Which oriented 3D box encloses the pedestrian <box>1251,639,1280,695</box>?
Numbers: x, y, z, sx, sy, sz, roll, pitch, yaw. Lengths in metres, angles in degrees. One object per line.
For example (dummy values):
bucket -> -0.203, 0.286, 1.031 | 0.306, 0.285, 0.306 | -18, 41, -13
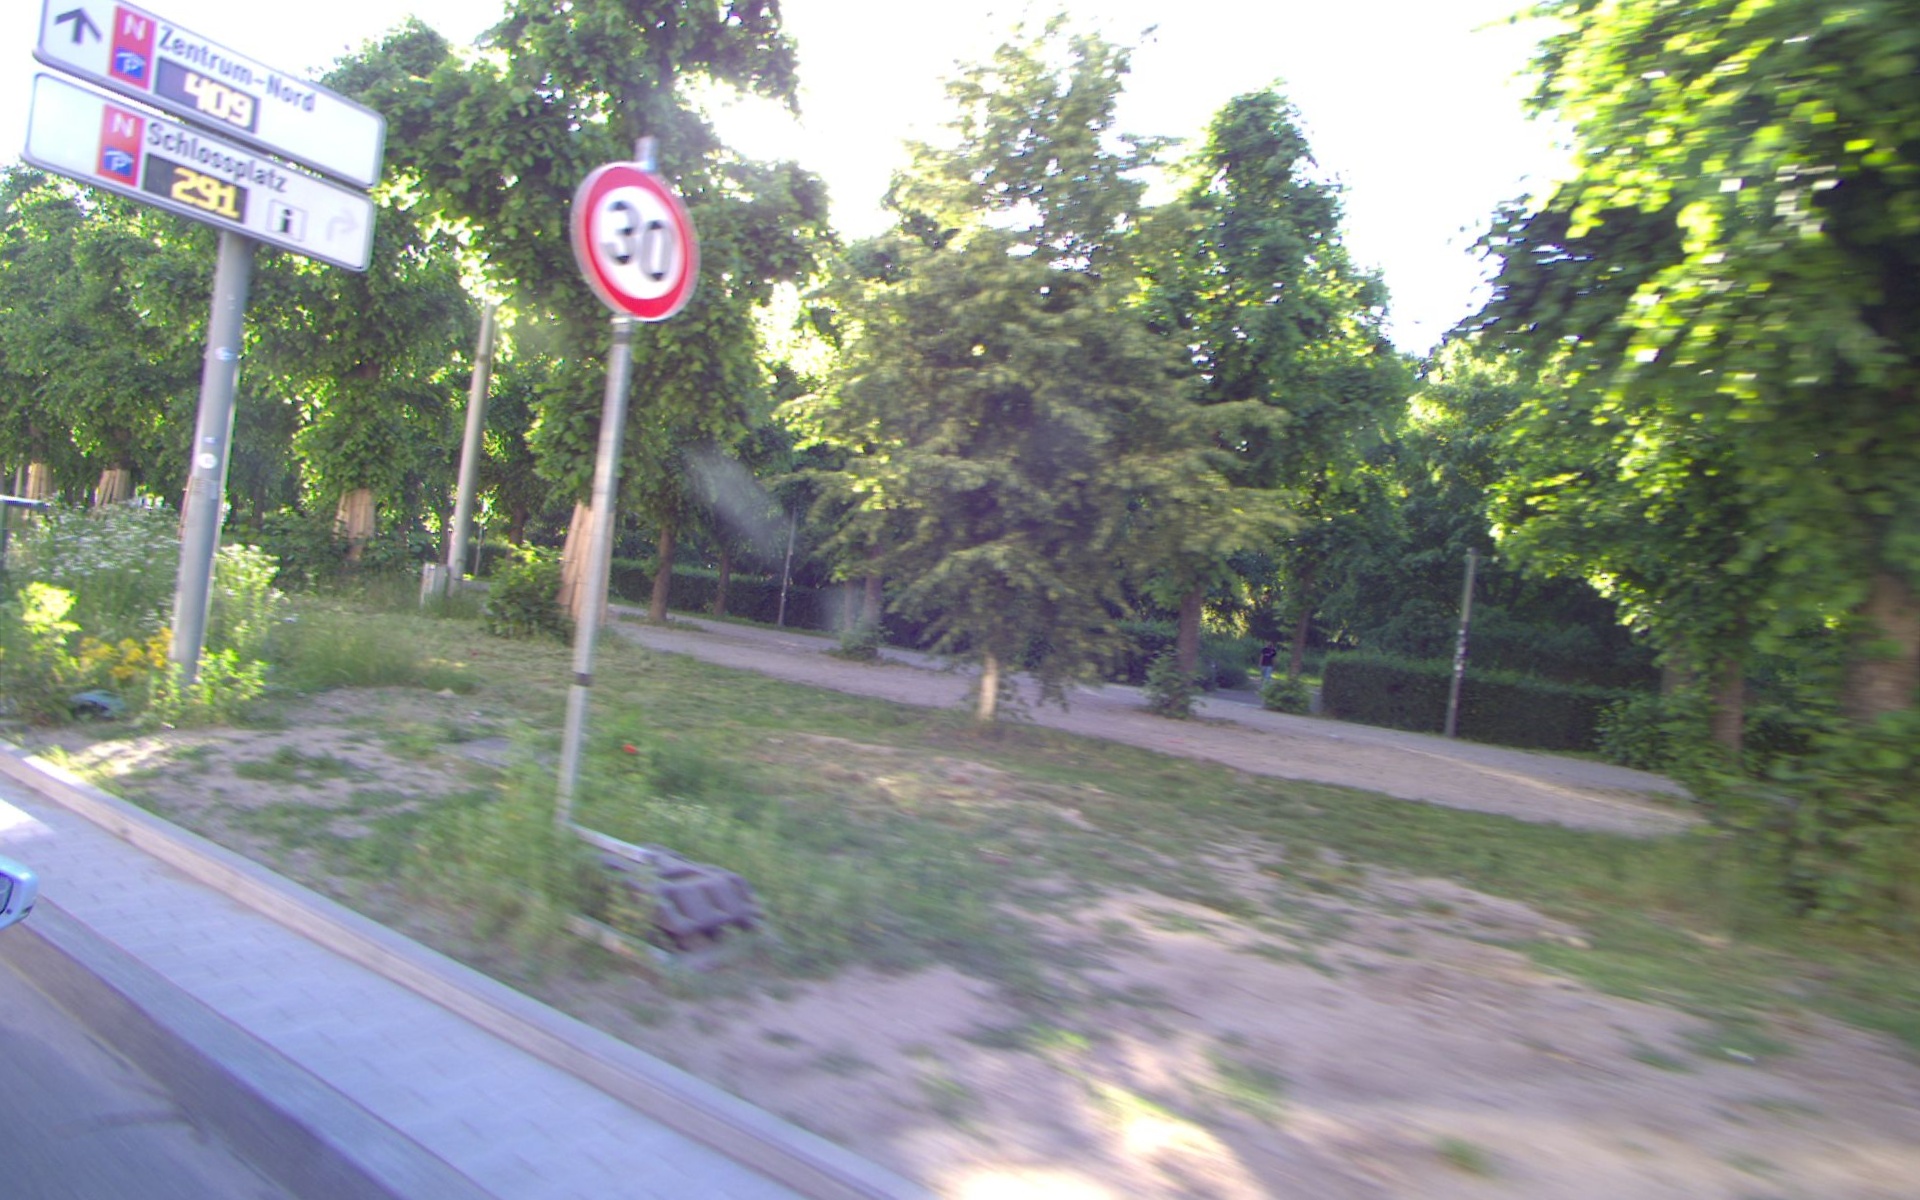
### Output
pedestrian -> 10.298, 2.248, 33.918 | 0.547, 1.804, 0.660 | 9, 1, 33
